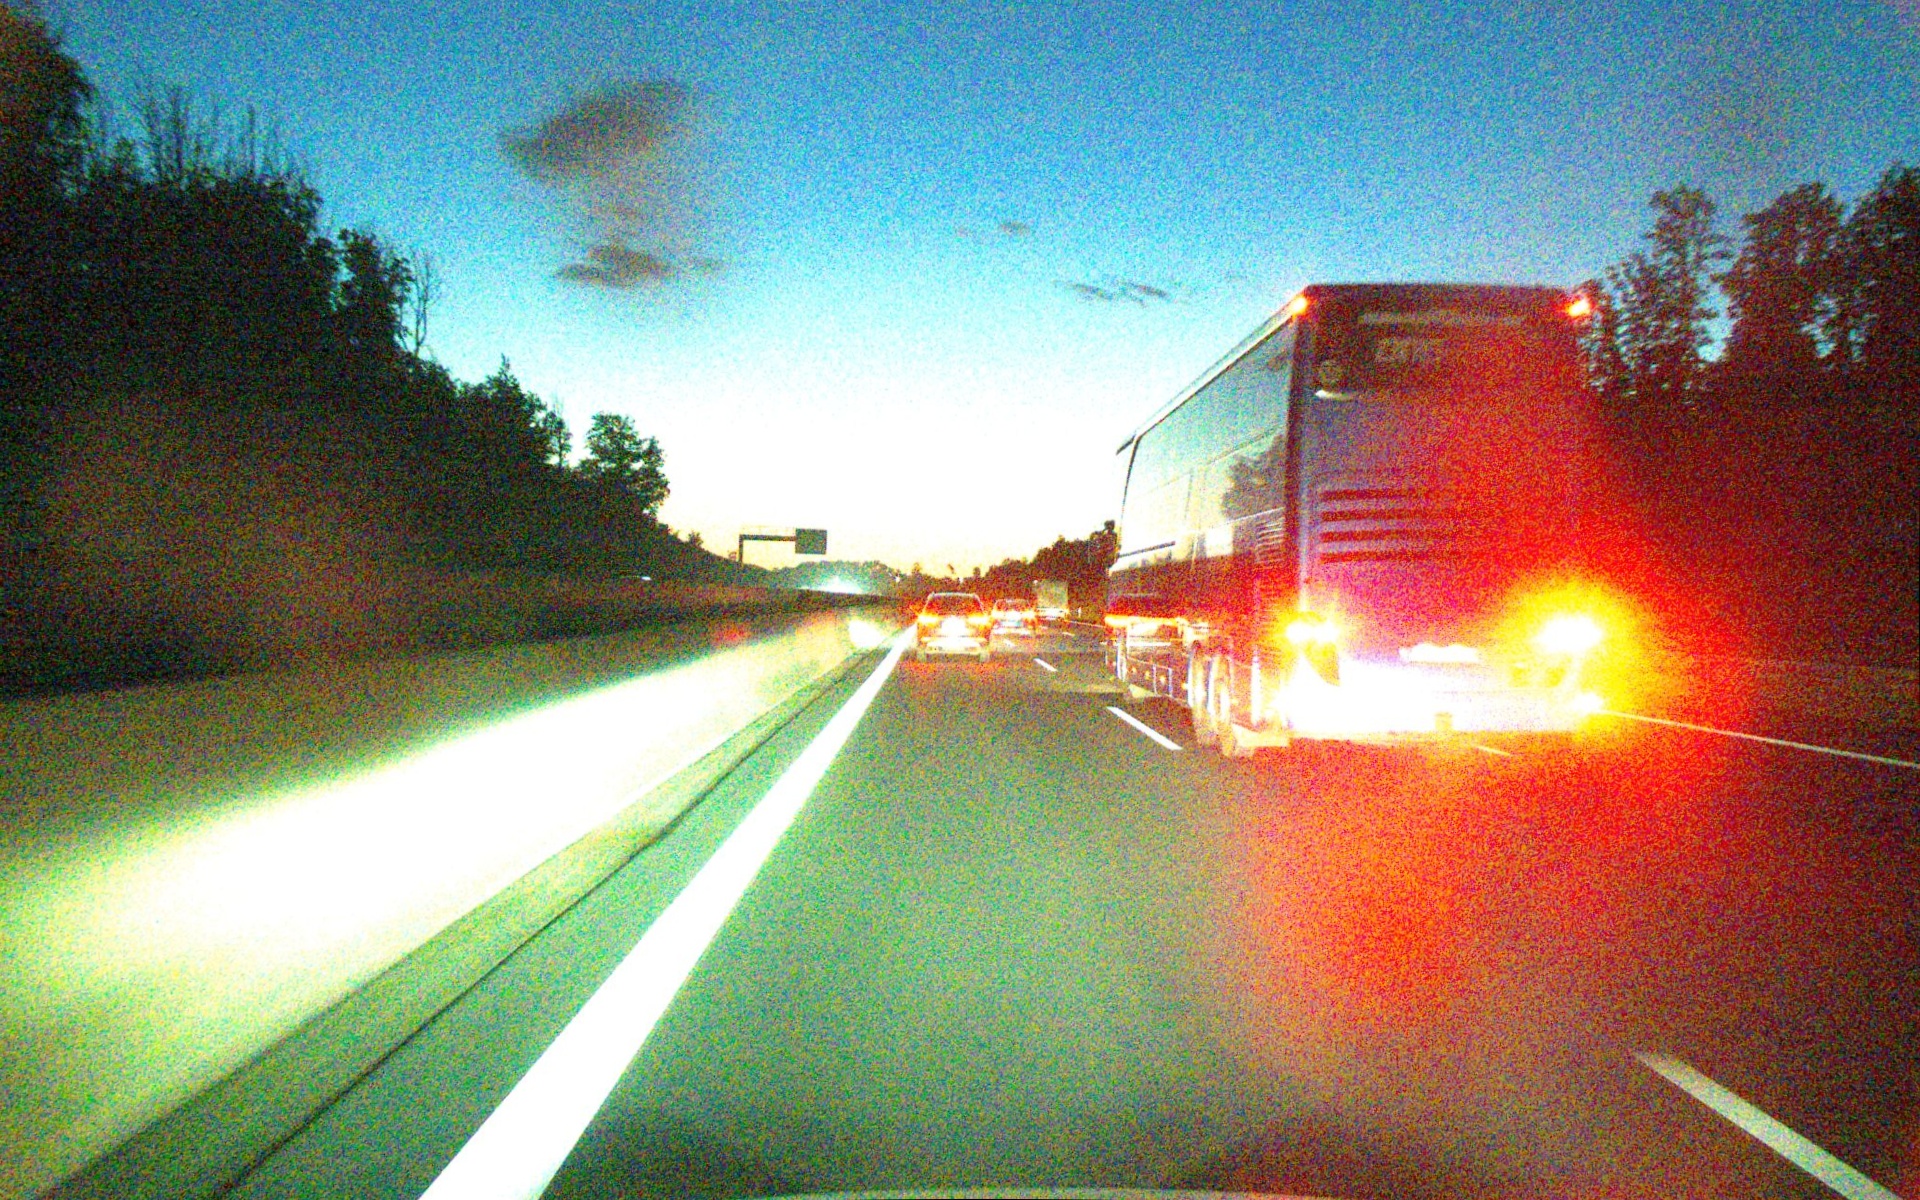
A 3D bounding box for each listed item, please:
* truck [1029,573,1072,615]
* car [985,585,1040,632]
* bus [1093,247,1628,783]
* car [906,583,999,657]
[{"bbox_3d":[6.771,-0.427,124.637,2.550,2.925,7.483,2,0,-2],"label":"truck"},{"bbox_3d":[2.032,0.335,65.160,1.873,1.760,3.998,1,-1,-3],"label":"car"},{"bbox_3d":[3.693,-0.613,20.123,2.598,4.064,14.697,2,0,-1],"label":"bus"},{"bbox_3d":[-0.229,0.474,39.989,2.063,1.646,4.202,2,0,-2],"label":"car"}]
